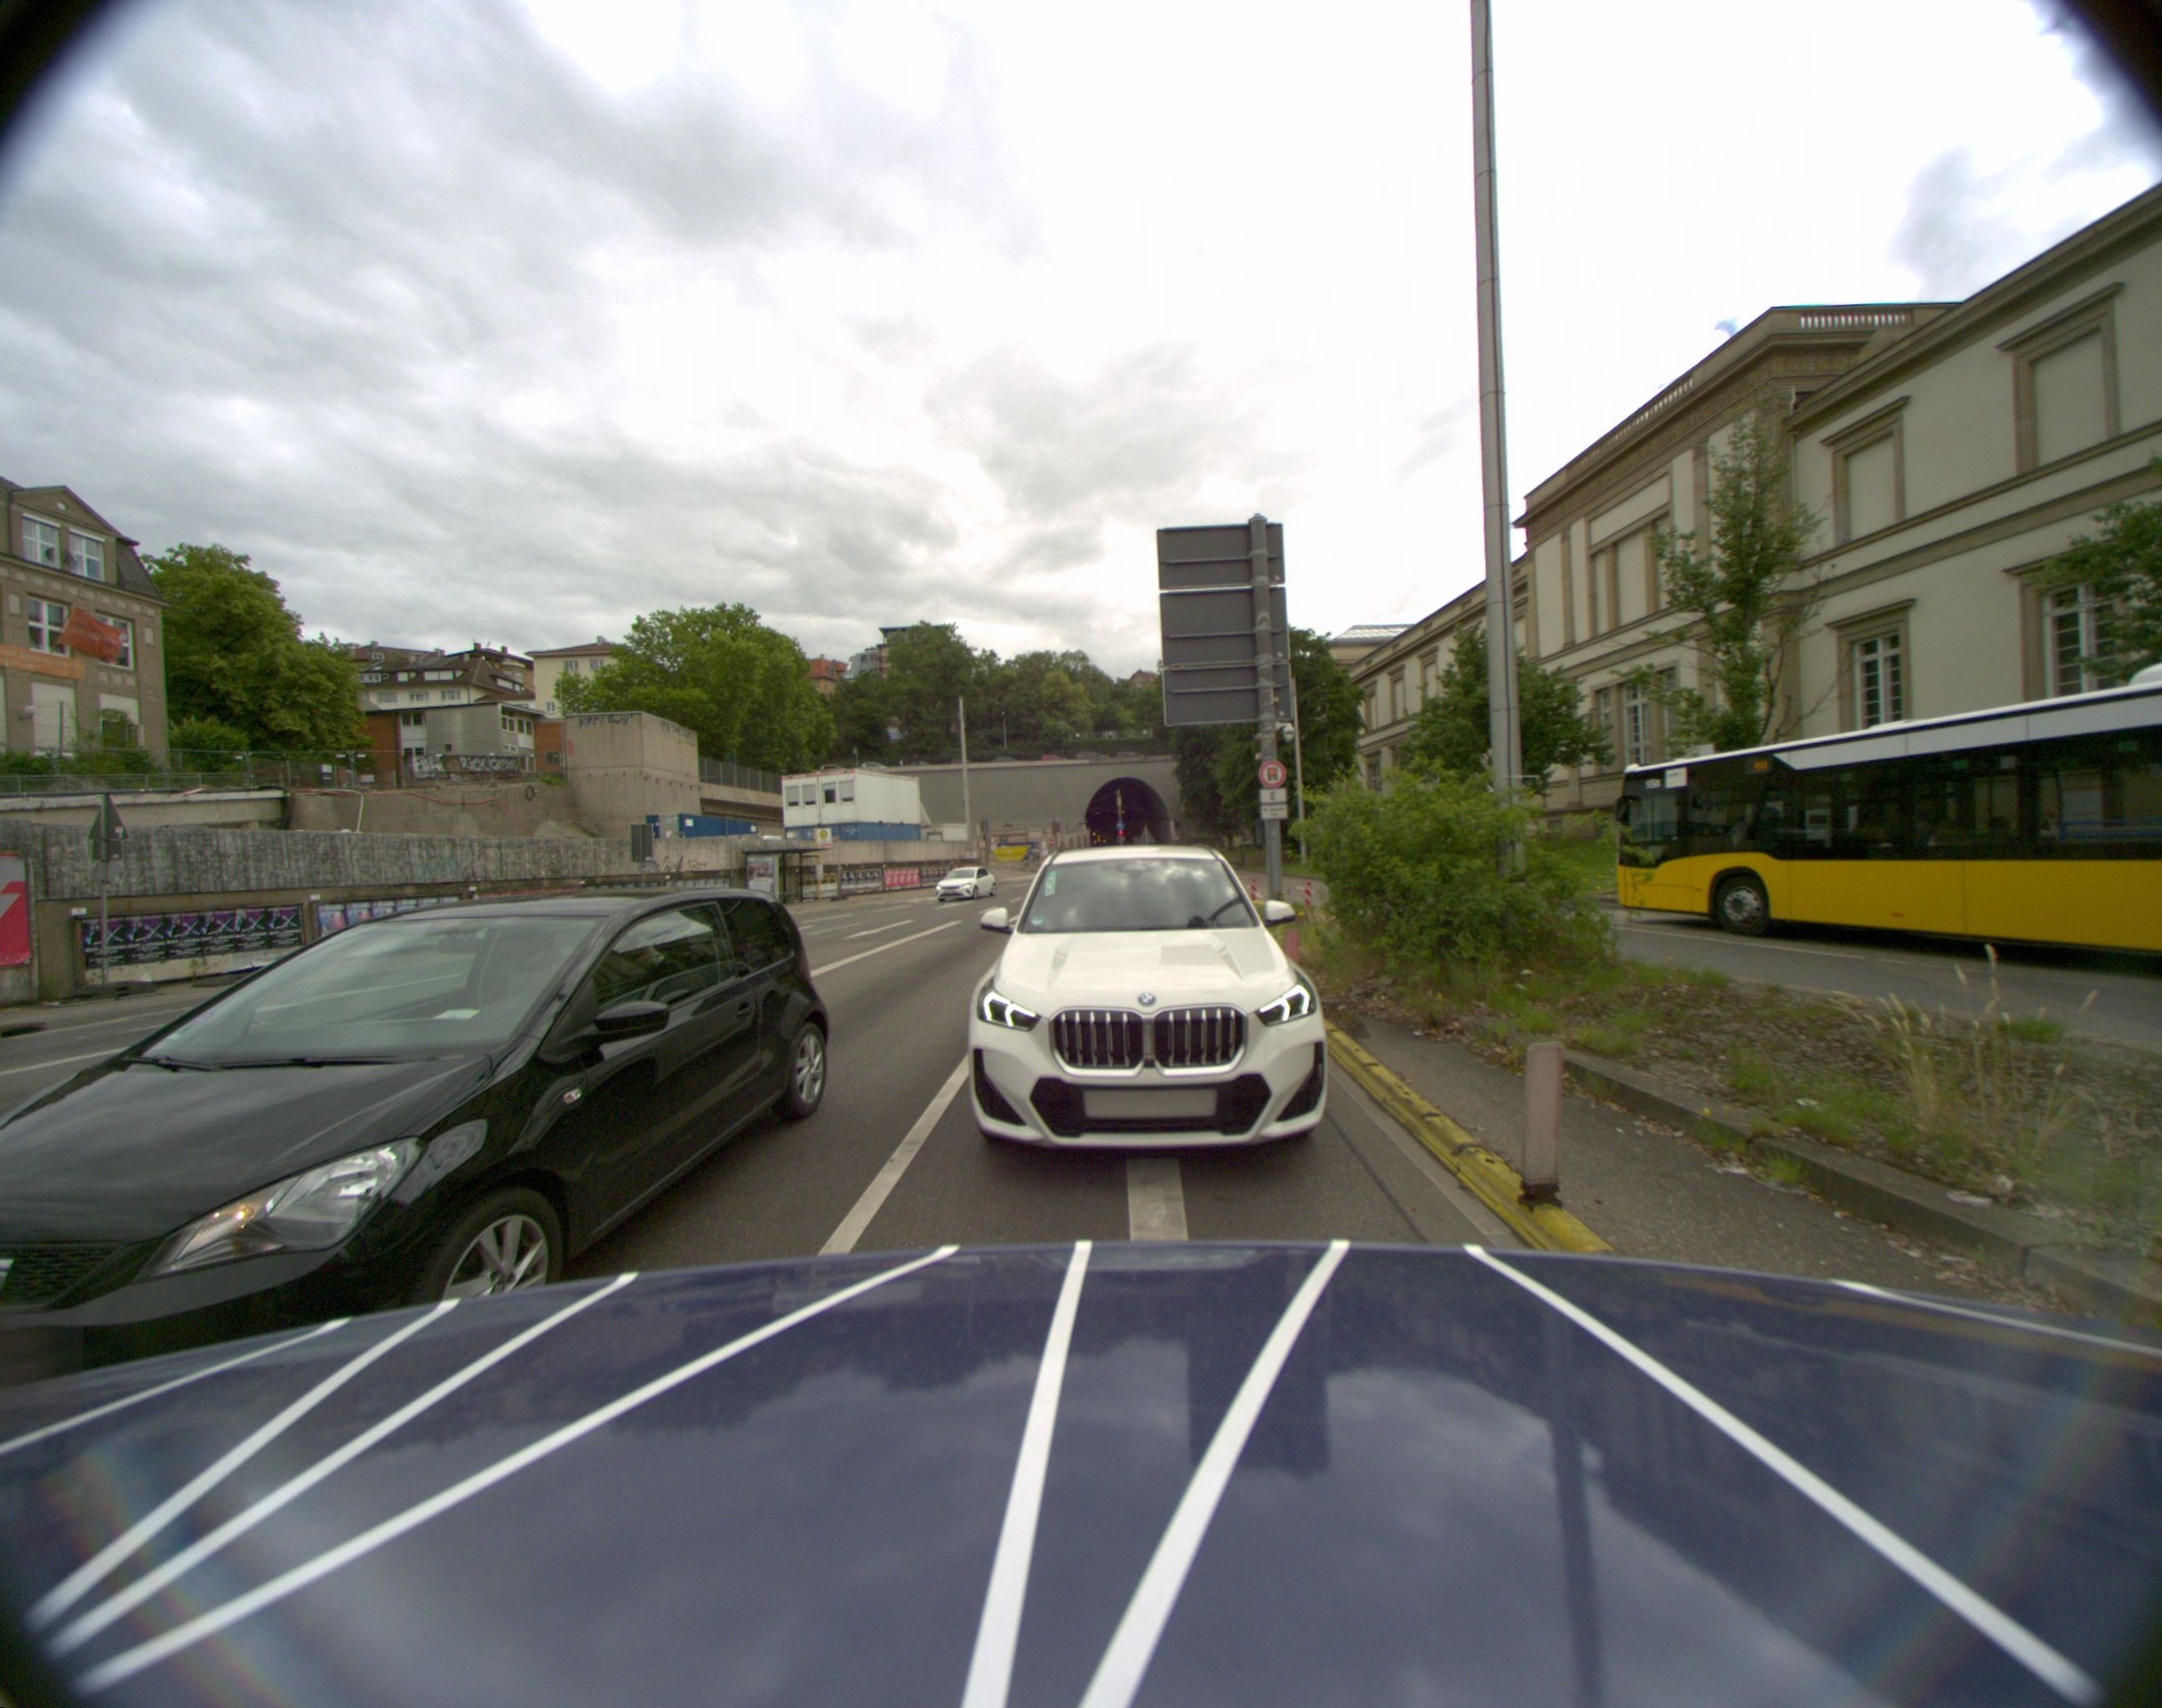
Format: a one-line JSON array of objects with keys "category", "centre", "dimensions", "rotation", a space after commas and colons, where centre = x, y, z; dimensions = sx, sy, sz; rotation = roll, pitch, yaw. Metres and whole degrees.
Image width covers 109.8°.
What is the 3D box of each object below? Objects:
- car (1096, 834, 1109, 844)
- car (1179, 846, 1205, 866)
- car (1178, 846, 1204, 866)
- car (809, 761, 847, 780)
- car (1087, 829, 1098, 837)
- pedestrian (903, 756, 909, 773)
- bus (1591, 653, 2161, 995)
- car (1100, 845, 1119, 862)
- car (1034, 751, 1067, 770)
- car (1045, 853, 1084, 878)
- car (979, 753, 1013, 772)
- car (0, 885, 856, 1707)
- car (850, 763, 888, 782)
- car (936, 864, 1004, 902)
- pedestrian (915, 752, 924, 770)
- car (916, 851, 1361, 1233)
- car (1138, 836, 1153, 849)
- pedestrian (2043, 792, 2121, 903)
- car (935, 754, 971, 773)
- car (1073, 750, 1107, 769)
[{"category": "car", "centre": [3.149, -2.235, 112.156], "dimensions": [1.728, 1.310, 4.000], "rotation": [-3, 0, 1]}, {"category": "car", "centre": [9.086, 0.169, 62.522], "dimensions": [1.667, 1.582, 3.882], "rotation": [-1, 0, 2]}, {"category": "car", "centre": [8.962, 0.154, 62.072], "dimensions": [1.539, 1.542, 2.823], "rotation": [-2, 0, -2]}, {"category": "car", "centre": [-31.070, -10.228, 93.307], "dimensions": [3.998, 2.002, 1.999], "rotation": [-2, 1, -5]}, {"category": "car", "centre": [2.219, -4.098, 147.953], "dimensions": [1.730, 1.435, 4.001], "rotation": [-3, 0, 5]}, {"category": "pedestrian", "centre": [-21.651, -11.096, 94.060], "dimensions": [0.581, 2.002, 0.577], "rotation": [-2, 1, -3]}, {"category": "bus", "centre": [11.170, -0.331, 9.497], "dimensions": [2.853, 3.096, 9.747], "rotation": [-3, 0, -1]}, {"category": "car", "centre": [2.788, -0.073, 75.174], "dimensions": [1.704, 1.550, 4.551], "rotation": [-3, 0, 1]}, {"category": "car", "centre": [-3.784, -11.617, 94.400], "dimensions": [3.998, 2.002, 1.999], "rotation": [-2, 1, -2]}, {"category": "car", "centre": [-1.122, 0.797, 54.250], "dimensions": [1.825, 1.562, 4.657], "rotation": [-3, 0, 11]}, {"category": "car", "centre": [-10.490, -11.368, 94.006], "dimensions": [3.998, 2.002, 1.999], "rotation": [-2, 1, -2]}, {"category": "car", "centre": [-2.513, 1.009, 3.405], "dimensions": [1.667, 1.487, 3.882], "rotation": [-3, 0, 2]}, {"category": "car", "centre": [-26.021, -10.041, 93.371], "dimensions": [3.998, 2.002, 1.999], "rotation": [-2, 1, -5]}, {"category": "car", "centre": [-4.966, 1.262, 34.508], "dimensions": [1.662, 1.471, 4.003], "rotation": [-3, 0, 13]}, {"category": "pedestrian", "centre": [-19.249, -11.119, 90.714], "dimensions": [0.851, 2.002, 0.905], "rotation": [-3, 1, -3]}, {"category": "car", "centre": [0.310, 0.820, 5.237], "dimensions": [1.848, 1.581, 3.882], "rotation": [-3, 0, 2]}, {"category": "car", "centre": [8.177, -1.406, 96.056], "dimensions": [1.667, 1.582, 3.882], "rotation": [-1, 0, 2]}, {"category": "pedestrian", "centre": [15.507, -0.092, 11.788], "dimensions": [0.586, 1.685, 0.459], "rotation": [-2, 1, 35]}, {"category": "car", "centre": [-15.809, -11.173, 93.895], "dimensions": [3.998, 2.002, 1.999], "rotation": [-2, 1, -2]}, {"category": "car", "centre": [1.094, -11.796, 94.485], "dimensions": [3.998, 2.002, 1.999], "rotation": [-2, 1, -2]}]
